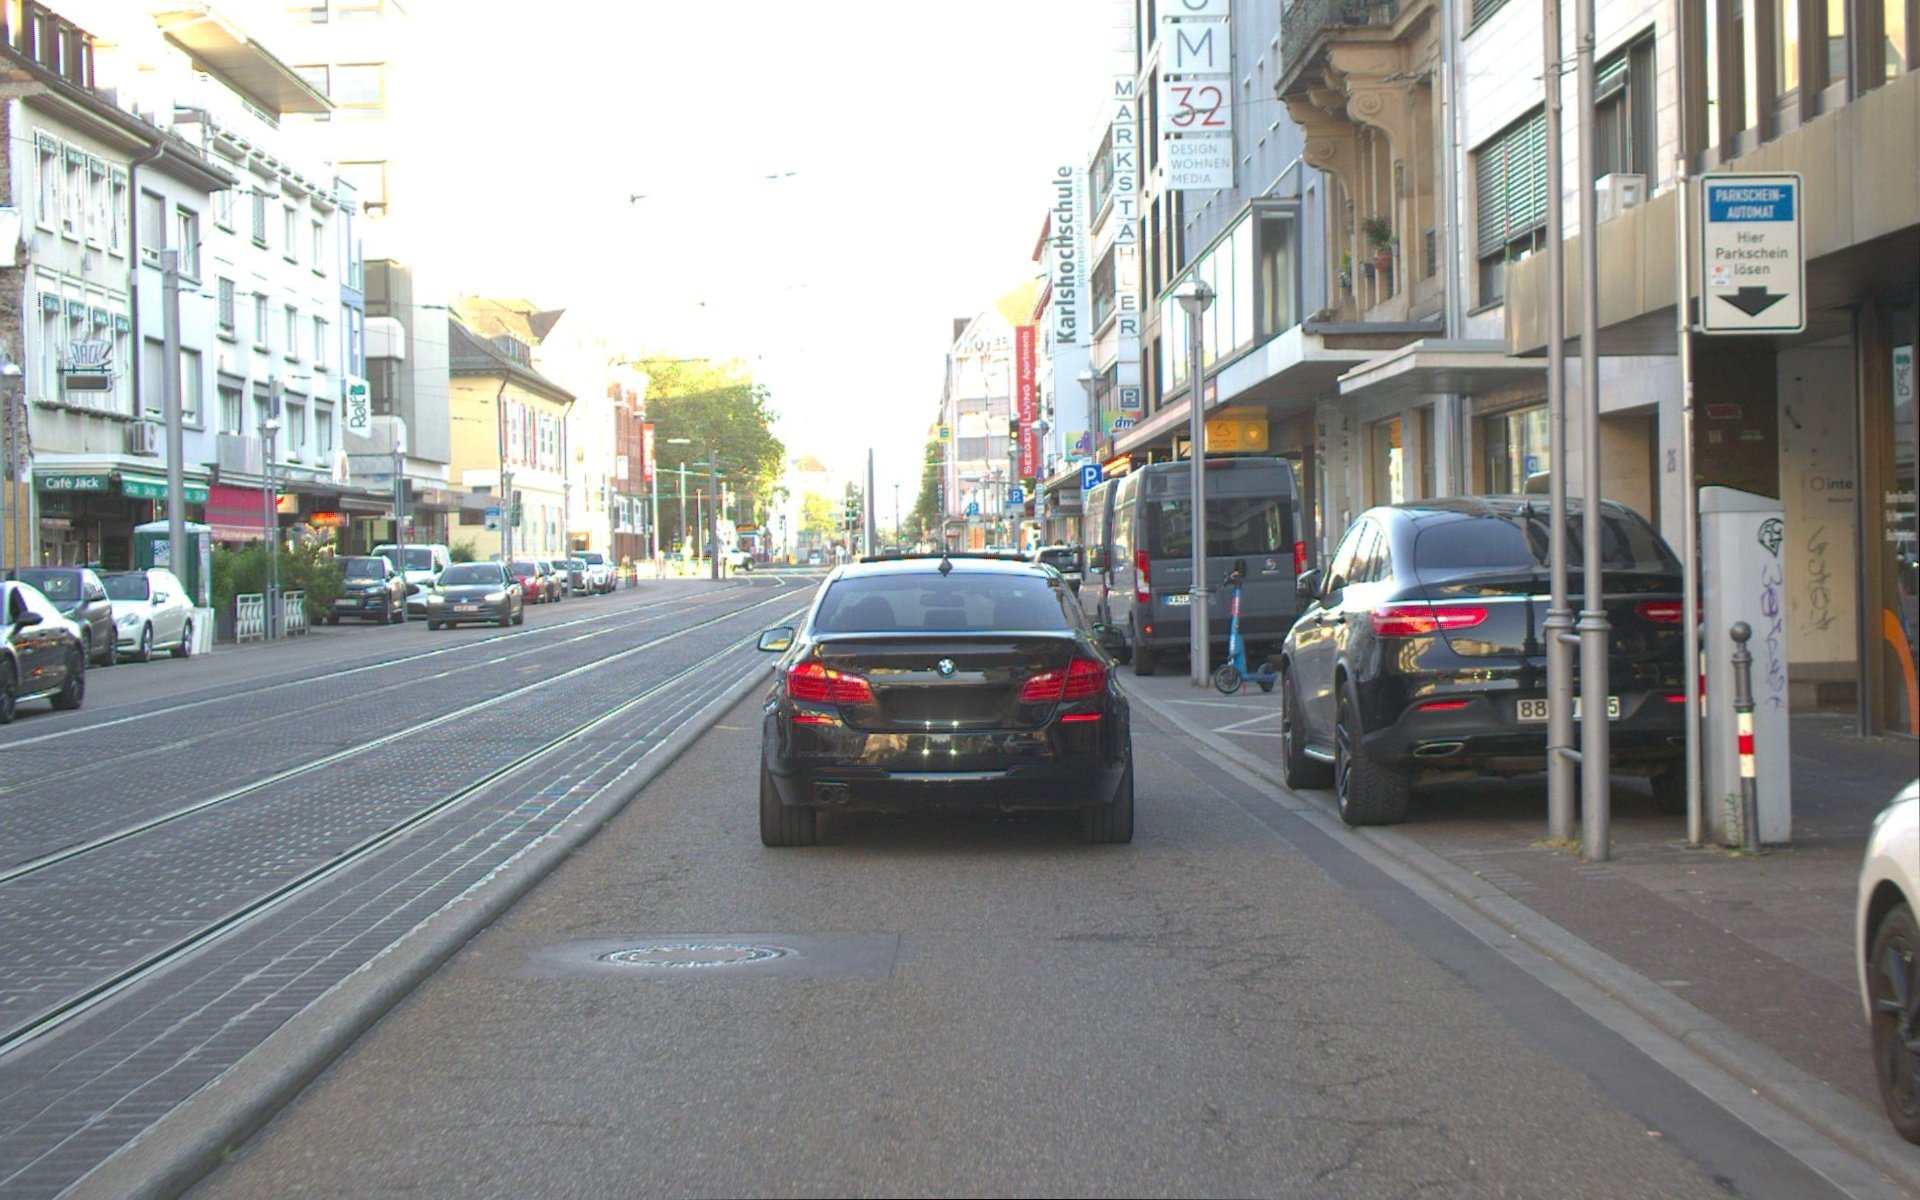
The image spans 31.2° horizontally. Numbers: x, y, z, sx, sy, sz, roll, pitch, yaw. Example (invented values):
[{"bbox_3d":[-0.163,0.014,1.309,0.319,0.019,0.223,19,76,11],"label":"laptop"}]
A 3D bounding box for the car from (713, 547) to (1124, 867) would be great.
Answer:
[{"bbox_3d":[-0.176,0.475,18.567,1.953,1.493,4.465,0,1,1],"label":"car"}]

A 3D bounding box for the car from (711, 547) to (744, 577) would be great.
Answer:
[{"bbox_3d":[-15.716,-2.584,232.170,1.993,1.832,4.000,0,-2,-1],"label":"car"}]

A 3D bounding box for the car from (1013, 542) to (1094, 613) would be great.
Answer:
[{"bbox_3d":[2.047,-0.512,76.204,1.559,1.437,3.709,-3,1,-1],"label":"car"}]

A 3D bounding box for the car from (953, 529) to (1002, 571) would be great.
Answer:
[{"bbox_3d":[0.664,-1.892,131.014,1.774,1.543,3.503,0,0,-1],"label":"car"}]

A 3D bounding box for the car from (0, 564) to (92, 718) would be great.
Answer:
[{"bbox_3d":[-10.224,0.384,34.670,1.993,1.448,4.650,-1,1,-3],"label":"car"}]

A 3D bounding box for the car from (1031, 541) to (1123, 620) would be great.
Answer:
[{"bbox_3d":[2.392,-0.428,71.147,1.654,1.532,3.886,-2,1,-1],"label":"car"}]

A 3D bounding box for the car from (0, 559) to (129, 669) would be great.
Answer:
[{"bbox_3d":[-13.515,0.191,51.375,1.477,1.572,2.795,-1,1,0],"label":"car"}]

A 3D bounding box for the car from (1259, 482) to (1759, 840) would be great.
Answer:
[{"bbox_3d":[2.926,0.269,19.350,1.993,1.721,4.565,-2,1,-1],"label":"car"}]

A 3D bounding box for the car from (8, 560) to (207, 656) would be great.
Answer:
[{"bbox_3d":[-13.844,0.094,56.104,1.993,1.448,4.822,-1,1,0],"label":"car"}]

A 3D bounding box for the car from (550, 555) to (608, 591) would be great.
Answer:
[{"bbox_3d":[-15.475,-1.115,139.712,1.928,1.430,4.246,0,1,-1],"label":"car"}]

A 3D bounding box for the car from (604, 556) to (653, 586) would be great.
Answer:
[{"bbox_3d":[-15.680,-1.385,162.833,1.928,1.430,4.246,0,1,-1],"label":"car"}]

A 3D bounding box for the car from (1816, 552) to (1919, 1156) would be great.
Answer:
[{"bbox_3d":[3.185,0.616,7.113,1.795,1.428,3.887,-1,1,-1],"label":"car"}]

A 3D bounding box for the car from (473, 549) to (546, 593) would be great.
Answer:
[{"bbox_3d":[-15.071,-0.987,115.123,1.928,1.430,4.246,0,1,-1],"label":"car"}]

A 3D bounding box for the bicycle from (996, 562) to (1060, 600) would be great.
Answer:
[{"bbox_3d":[1.981,-0.548,100.317,1.861,1.076,0.468,-1,-1,1],"label":"bicycle"}]

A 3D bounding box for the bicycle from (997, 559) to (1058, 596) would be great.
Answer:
[{"bbox_3d":[2.085,-0.696,106.155,1.861,1.115,0.468,-1,-1,1],"label":"bicycle"}]

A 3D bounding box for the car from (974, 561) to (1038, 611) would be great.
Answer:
[{"bbox_3d":[1.442,-0.456,109.608,1.903,1.543,4.000,0,0,-1],"label":"car"}]

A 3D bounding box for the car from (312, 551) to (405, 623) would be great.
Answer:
[{"bbox_3d":[-14.415,-0.329,82.581,1.865,1.679,4.001,0,1,-5],"label":"car"}]

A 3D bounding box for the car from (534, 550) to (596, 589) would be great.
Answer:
[{"bbox_3d":[-15.324,-1.203,133.649,1.928,1.430,4.246,-1,1,-1],"label":"car"}]

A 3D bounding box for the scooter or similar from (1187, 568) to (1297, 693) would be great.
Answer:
[{"bbox_3d":[2.859,0.302,34.776,0.499,1.216,1.262,-1,1,37],"label":"scooter or similar"}]

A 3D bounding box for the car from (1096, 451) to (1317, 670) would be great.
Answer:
[{"bbox_3d":[2.955,-0.501,42.520,2.092,2.447,6.033,-2,1,-1],"label":"car"}]

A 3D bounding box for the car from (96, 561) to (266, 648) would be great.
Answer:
[{"bbox_3d":[-13.769,0.048,60.980,1.993,1.448,4.330,-1,1,0],"label":"car"}]

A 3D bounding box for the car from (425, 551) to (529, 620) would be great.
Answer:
[{"bbox_3d":[-10.716,-0.345,76.583,1.691,1.448,4.465,-1,1,0],"label":"car"}]

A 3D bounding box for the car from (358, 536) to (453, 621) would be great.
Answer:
[{"bbox_3d":[-14.585,-0.581,90.591,1.993,2.149,4.911,-1,1,-4],"label":"car"}]

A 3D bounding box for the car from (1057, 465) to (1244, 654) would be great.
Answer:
[{"bbox_3d":[2.631,-0.581,48.821,2.033,2.447,5.410,-3,1,-2],"label":"car"}]
